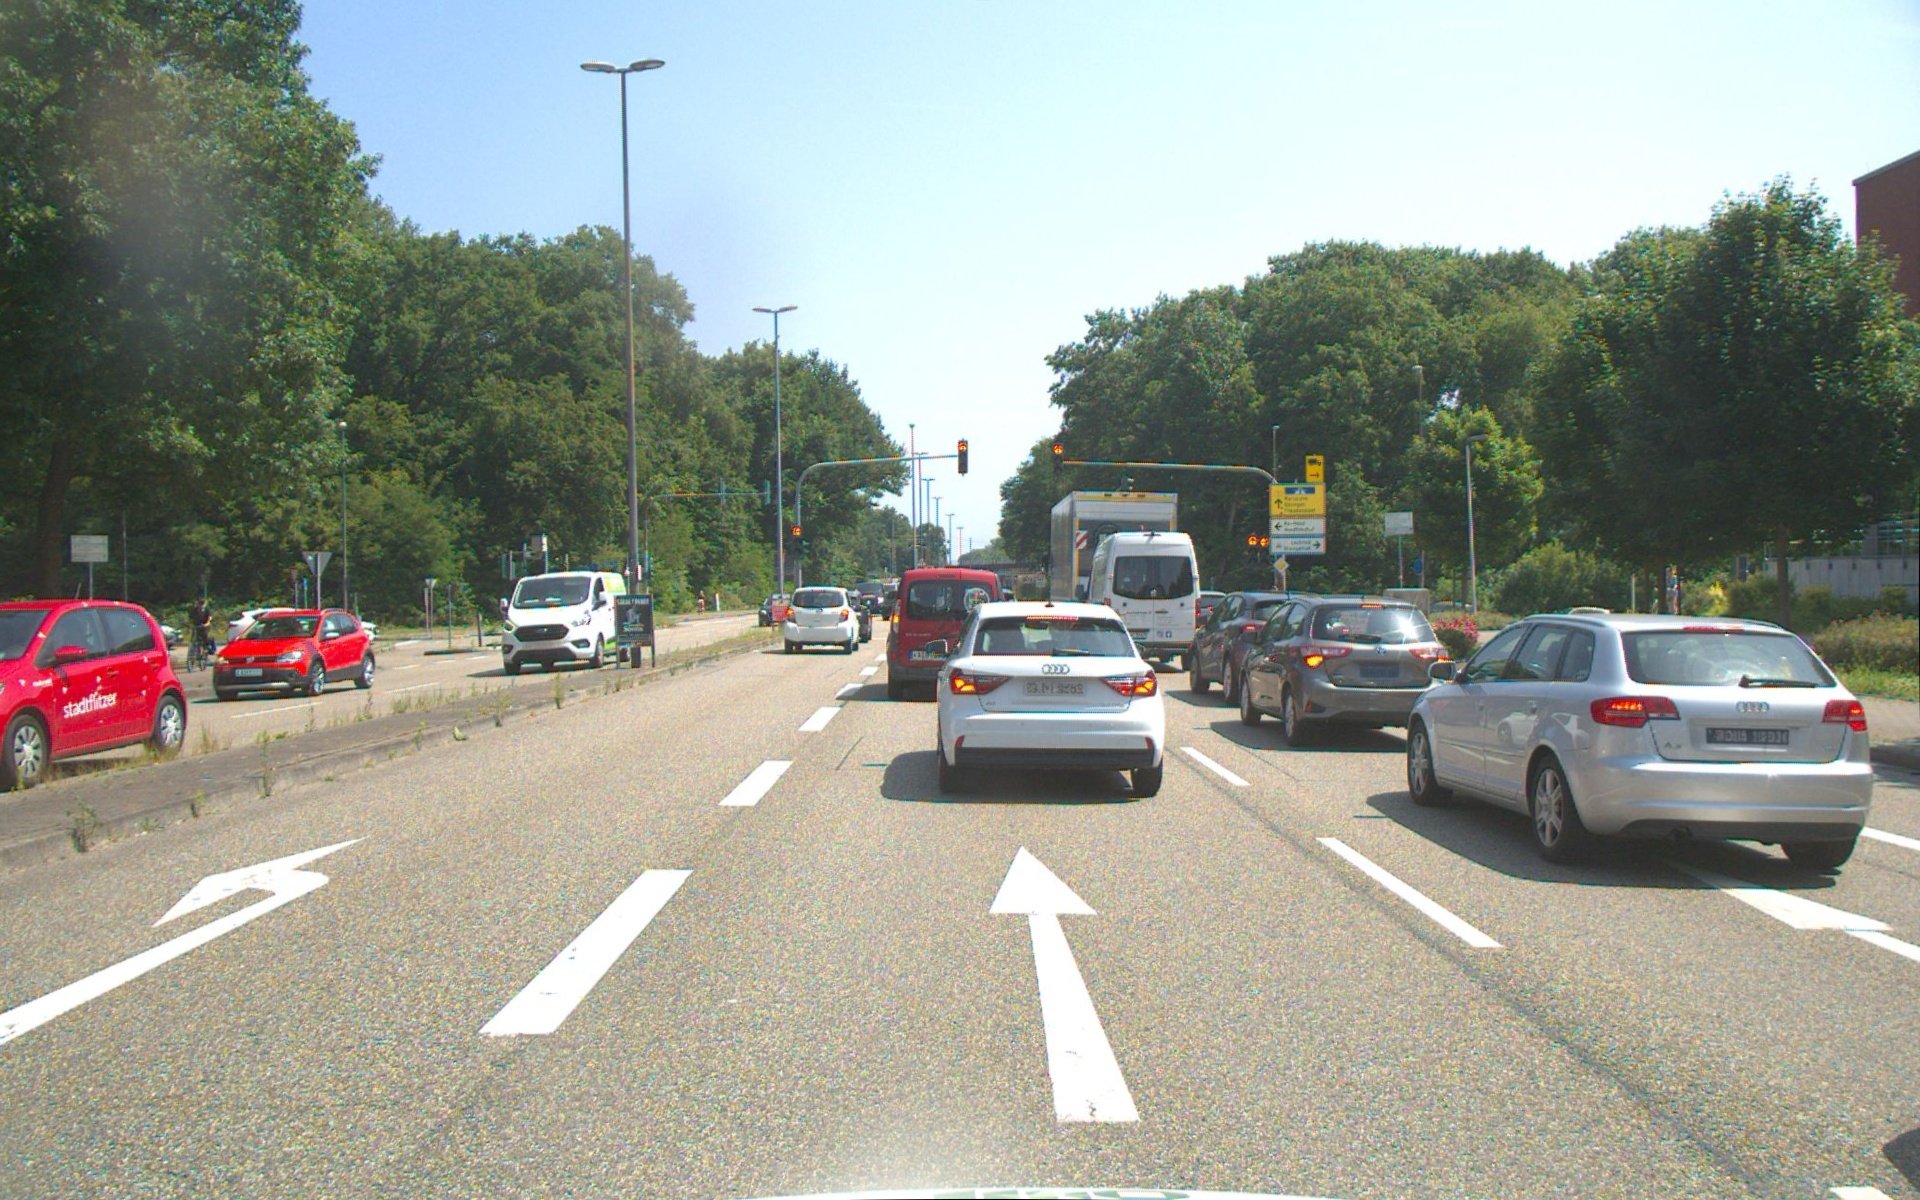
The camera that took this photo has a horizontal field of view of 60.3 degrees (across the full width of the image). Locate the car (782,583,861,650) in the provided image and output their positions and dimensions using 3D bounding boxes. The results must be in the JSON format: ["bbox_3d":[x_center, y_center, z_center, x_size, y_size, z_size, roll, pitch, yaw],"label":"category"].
[{"bbox_3d":[-3.293,0.360,39.939,1.677,1.519,4.090,0,0,-2],"label":"car"}]

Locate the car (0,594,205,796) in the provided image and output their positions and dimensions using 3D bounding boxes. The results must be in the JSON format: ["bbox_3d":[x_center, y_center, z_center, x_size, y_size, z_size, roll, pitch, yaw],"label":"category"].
[{"bbox_3d":[-7.909,0.732,13.837,1.548,1.466,3.608,-3,1,-2],"label":"car"}]

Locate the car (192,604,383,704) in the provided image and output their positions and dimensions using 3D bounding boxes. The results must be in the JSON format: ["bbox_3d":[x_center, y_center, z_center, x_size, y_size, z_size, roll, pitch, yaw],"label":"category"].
[{"bbox_3d":[-11.670,0.889,28.980,1.671,1.477,3.891,-3,1,0],"label":"car"}]

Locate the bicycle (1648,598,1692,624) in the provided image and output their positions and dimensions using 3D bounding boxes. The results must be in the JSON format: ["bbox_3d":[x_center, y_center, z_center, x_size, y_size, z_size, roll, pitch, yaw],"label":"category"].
[{"bbox_3d":[22.459,0.343,52.312,1.812,0.779,0.591,-1,0,-42],"label":"bicycle"}]

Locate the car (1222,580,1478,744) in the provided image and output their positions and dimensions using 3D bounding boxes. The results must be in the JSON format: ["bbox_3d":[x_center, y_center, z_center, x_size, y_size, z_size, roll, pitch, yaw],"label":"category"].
[{"bbox_3d":[4.107,0.589,18.062,1.677,1.504,4.090,3,0,-2],"label":"car"}]

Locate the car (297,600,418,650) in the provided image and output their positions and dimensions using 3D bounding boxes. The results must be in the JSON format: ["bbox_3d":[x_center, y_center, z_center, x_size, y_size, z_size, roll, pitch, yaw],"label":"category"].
[{"bbox_3d":[-24.798,1.025,68.195,4.290,1.710,1.807,-4,0,-8],"label":"car"}]

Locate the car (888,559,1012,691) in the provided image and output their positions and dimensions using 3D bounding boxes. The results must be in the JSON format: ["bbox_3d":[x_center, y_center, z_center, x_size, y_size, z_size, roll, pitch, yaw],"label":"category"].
[{"bbox_3d":[-0.184,0.323,24.354,1.677,1.779,4.090,0,0,-2],"label":"car"}]

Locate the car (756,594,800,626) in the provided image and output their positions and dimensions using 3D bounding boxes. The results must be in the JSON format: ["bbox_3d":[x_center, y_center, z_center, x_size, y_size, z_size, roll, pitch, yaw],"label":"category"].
[{"bbox_3d":[-8.552,0.450,77.811,1.645,1.362,3.999,-4,1,-2],"label":"car"}]

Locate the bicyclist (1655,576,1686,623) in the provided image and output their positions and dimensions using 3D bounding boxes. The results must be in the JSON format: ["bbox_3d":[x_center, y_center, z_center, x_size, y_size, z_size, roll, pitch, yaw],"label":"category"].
[{"bbox_3d":[22.499,-0.012,52.361,0.821,1.464,0.590,-1,0,-40],"label":"bicyclist"}]

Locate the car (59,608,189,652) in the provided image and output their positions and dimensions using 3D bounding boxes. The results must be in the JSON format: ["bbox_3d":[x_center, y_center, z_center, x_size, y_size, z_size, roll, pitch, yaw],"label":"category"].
[{"bbox_3d":[-33.631,1.202,66.639,4.292,1.711,1.805,1,-1,-11],"label":"car"}]

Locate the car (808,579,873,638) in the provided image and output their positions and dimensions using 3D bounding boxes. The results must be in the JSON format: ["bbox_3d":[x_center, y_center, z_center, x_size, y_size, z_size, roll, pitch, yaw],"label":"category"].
[{"bbox_3d":[-3.463,0.220,48.499,1.738,1.670,4.036,0,0,-2],"label":"car"}]

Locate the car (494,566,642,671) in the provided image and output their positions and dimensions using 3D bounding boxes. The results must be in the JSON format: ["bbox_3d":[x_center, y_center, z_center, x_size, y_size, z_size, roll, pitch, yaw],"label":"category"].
[{"bbox_3d":[-8.196,0.341,35.041,1.953,1.979,4.907,-3,1,-1],"label":"car"}]

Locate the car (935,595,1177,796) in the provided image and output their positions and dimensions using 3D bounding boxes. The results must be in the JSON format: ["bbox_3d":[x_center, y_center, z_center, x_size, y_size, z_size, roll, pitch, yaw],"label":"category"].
[{"bbox_3d":[0.651,0.671,13.787,1.677,1.410,4.090,0,0,-2],"label":"car"}]

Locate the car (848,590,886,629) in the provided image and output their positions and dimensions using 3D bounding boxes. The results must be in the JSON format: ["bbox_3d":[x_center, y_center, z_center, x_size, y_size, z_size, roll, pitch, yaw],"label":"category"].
[{"bbox_3d":[-5.150,0.501,91.355,1.954,2.049,3.997,-1,0,-4],"label":"car"}]

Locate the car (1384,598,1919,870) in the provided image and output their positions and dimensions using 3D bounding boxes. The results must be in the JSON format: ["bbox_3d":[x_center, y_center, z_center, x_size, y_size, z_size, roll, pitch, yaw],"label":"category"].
[{"bbox_3d":[4.181,0.706,10.771,1.677,1.386,4.090,1,0,-2],"label":"car"}]

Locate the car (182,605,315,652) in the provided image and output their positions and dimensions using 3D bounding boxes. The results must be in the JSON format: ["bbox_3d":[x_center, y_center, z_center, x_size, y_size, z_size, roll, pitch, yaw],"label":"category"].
[{"bbox_3d":[-27.270,1.099,63.507,4.288,1.711,1.807,1,0,-8],"label":"car"}]

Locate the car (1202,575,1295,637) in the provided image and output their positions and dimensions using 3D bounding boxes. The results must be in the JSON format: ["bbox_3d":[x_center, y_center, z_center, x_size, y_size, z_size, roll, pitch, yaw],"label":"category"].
[{"bbox_3d":[7.610,0.132,43.996,1.677,1.573,4.090,0,0,-2],"label":"car"}]

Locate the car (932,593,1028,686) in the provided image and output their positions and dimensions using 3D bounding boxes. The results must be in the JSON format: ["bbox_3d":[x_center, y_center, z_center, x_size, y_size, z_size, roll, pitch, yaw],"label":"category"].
[{"bbox_3d":[0.331,0.701,31.616,1.677,1.660,4.090,0,0,-2],"label":"car"}]

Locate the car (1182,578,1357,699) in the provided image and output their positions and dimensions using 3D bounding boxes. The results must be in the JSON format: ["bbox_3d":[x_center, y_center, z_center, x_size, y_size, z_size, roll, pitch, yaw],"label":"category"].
[{"bbox_3d":[4.400,0.498,24.071,1.677,1.621,4.090,0,0,-2],"label":"car"}]

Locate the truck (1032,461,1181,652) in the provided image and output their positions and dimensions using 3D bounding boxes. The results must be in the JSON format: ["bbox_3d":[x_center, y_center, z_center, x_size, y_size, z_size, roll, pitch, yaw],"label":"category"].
[{"bbox_3d":[3.743,-1.083,45.144,3.025,4.511,11.580,1,0,0],"label":"truck"}]

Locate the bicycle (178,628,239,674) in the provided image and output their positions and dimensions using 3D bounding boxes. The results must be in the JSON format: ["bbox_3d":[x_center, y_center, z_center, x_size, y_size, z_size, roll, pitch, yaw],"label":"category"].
[{"bbox_3d":[-18.507,1.245,40.757,0.641,1.069,1.884,-1,0,0],"label":"bicycle"}]

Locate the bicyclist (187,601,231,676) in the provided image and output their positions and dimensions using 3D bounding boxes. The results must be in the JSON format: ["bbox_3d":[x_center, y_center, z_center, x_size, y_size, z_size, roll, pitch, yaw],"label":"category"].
[{"bbox_3d":[-18.516,0.939,40.776,0.636,1.801,0.928,-1,0,0],"label":"bicyclist"}]

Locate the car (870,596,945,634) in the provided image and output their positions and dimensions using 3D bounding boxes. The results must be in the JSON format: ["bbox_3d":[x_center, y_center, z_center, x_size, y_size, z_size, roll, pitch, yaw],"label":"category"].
[{"bbox_3d":[-2.509,0.688,78.143,1.853,1.719,3.959,-1,0,-30],"label":"car"}]

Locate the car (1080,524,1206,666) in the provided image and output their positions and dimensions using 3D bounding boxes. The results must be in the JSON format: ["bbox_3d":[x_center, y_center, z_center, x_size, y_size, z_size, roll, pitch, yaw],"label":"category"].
[{"bbox_3d":[3.655,-0.116,33.876,1.989,2.690,4.844,0,0,-1],"label":"car"}]

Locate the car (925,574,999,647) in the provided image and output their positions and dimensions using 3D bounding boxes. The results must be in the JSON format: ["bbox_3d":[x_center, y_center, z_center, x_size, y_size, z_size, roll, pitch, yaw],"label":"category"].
[{"bbox_3d":[-0.002,0.219,39.756,1.677,1.660,4.090,0,0,-2],"label":"car"}]
